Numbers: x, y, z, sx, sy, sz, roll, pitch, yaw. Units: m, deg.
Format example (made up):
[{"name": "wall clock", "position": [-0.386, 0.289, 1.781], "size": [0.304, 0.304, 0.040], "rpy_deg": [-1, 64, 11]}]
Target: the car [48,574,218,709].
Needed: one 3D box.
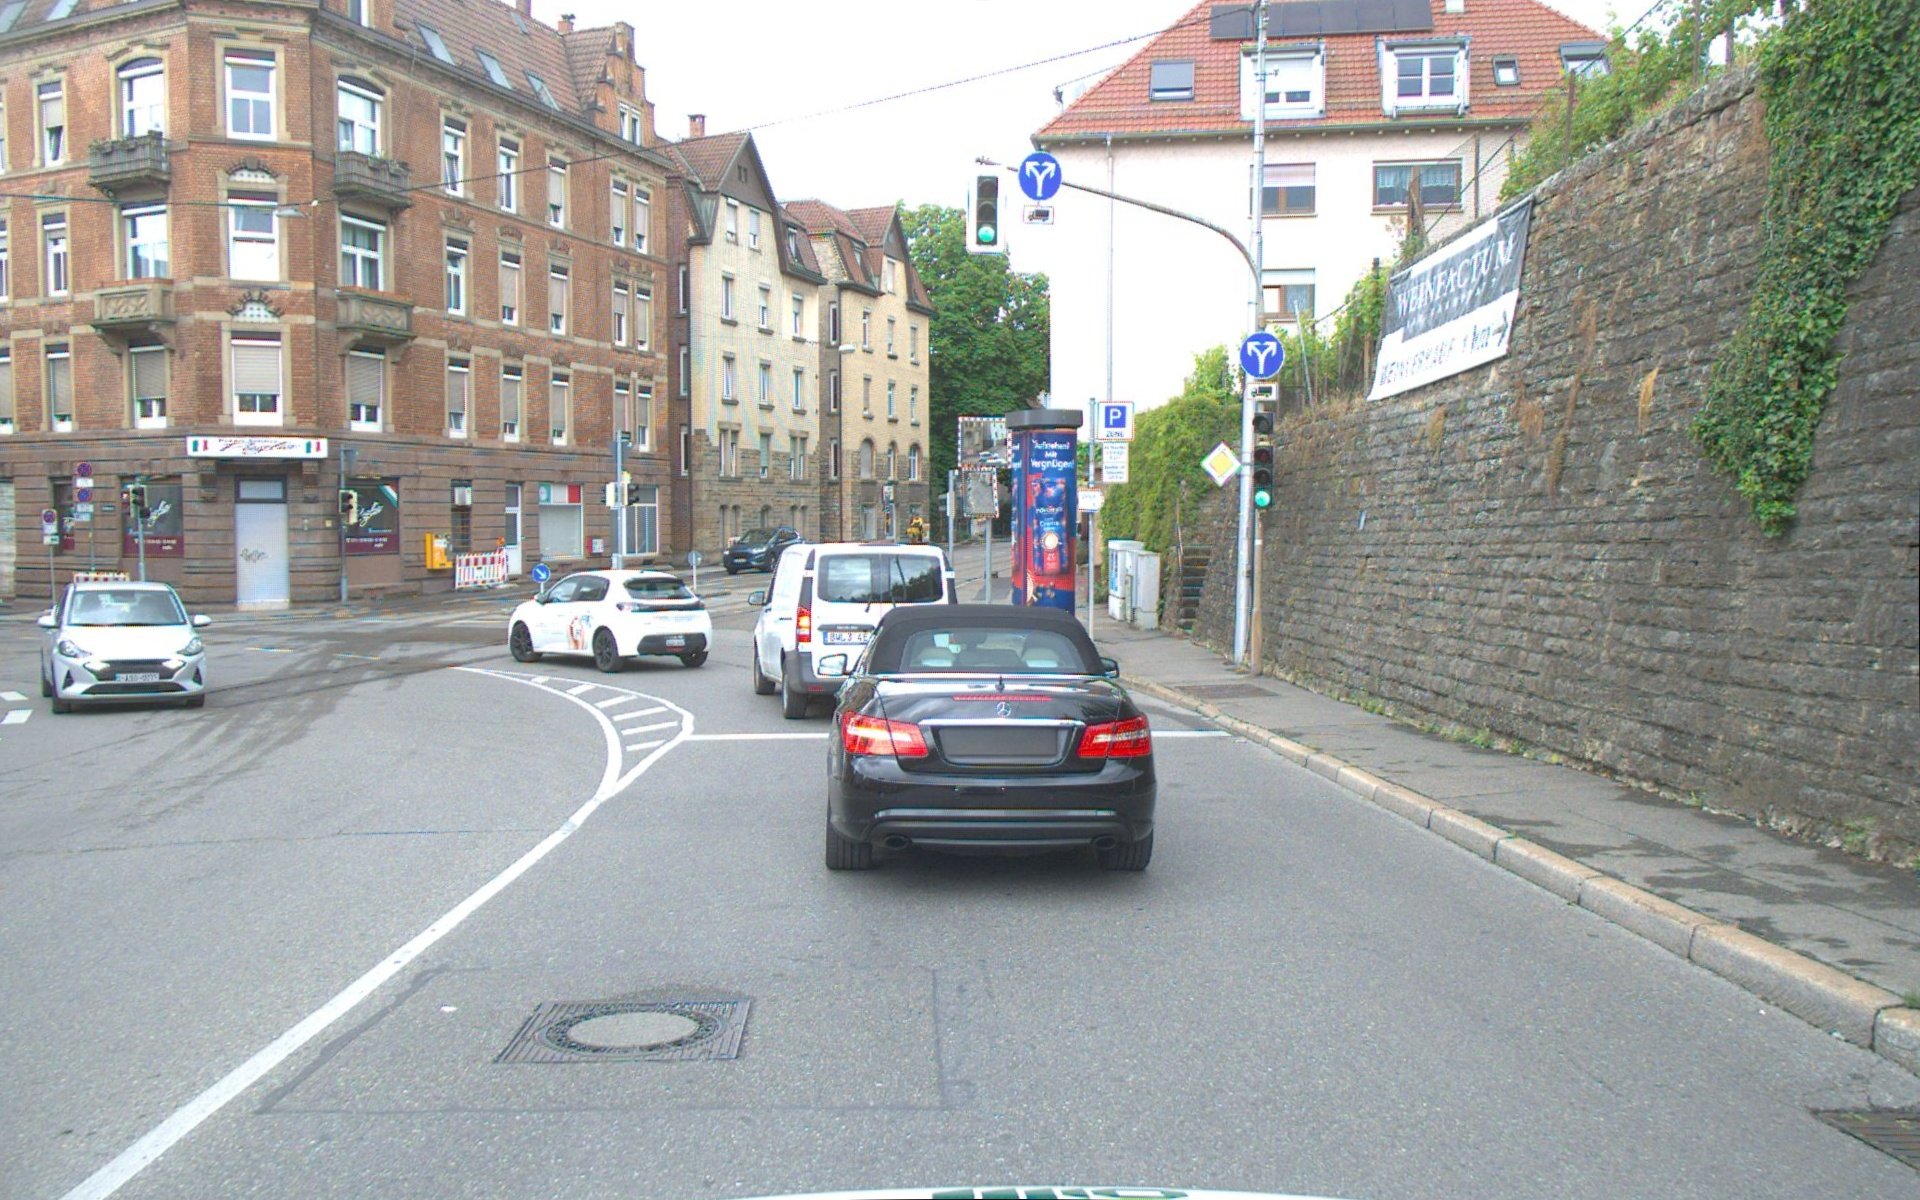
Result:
[{"name": "car", "position": [-10.485, 0.472, 20.855], "size": [1.653, 1.493, 3.605], "rpy_deg": [-2, 1, -30]}]

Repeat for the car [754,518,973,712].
[{"name": "car", "position": [-1.270, 0.178, 19.445], "size": [1.858, 1.962, 4.631], "rpy_deg": [2, -1, -12]}]

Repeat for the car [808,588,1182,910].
[{"name": "car", "position": [0.142, 0.685, 10.003], "size": [1.726, 1.434, 4.398], "rpy_deg": [-2, 1, -1]}]

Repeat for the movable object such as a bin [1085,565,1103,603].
[{"name": "movable object such as a bin", "position": [3.305, -0.389, 40.833], "size": [0.337, 0.927, 0.494], "rpy_deg": [0, 1, -6]}]

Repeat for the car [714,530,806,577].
[{"name": "car", "position": [-7.547, -1.786, 62.835], "size": [1.951, 1.541, 4.291], "rpy_deg": [-1, 3, 15]}]

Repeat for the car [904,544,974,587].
[{"name": "car", "position": [-0.881, -1.546, 73.498], "size": [1.908, 1.748, 4.003], "rpy_deg": [-2, 2, 17]}]

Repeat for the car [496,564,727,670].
[{"name": "car", "position": [-5.454, 0.254, 25.611], "size": [1.674, 1.491, 3.853], "rpy_deg": [-3, 1, -45]}]

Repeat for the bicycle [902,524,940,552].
[{"name": "bicycle", "position": [-2.024, -3.200, 85.407], "size": [0.620, 1.329, 2.595], "rpy_deg": [-2, 3, 30]}]
